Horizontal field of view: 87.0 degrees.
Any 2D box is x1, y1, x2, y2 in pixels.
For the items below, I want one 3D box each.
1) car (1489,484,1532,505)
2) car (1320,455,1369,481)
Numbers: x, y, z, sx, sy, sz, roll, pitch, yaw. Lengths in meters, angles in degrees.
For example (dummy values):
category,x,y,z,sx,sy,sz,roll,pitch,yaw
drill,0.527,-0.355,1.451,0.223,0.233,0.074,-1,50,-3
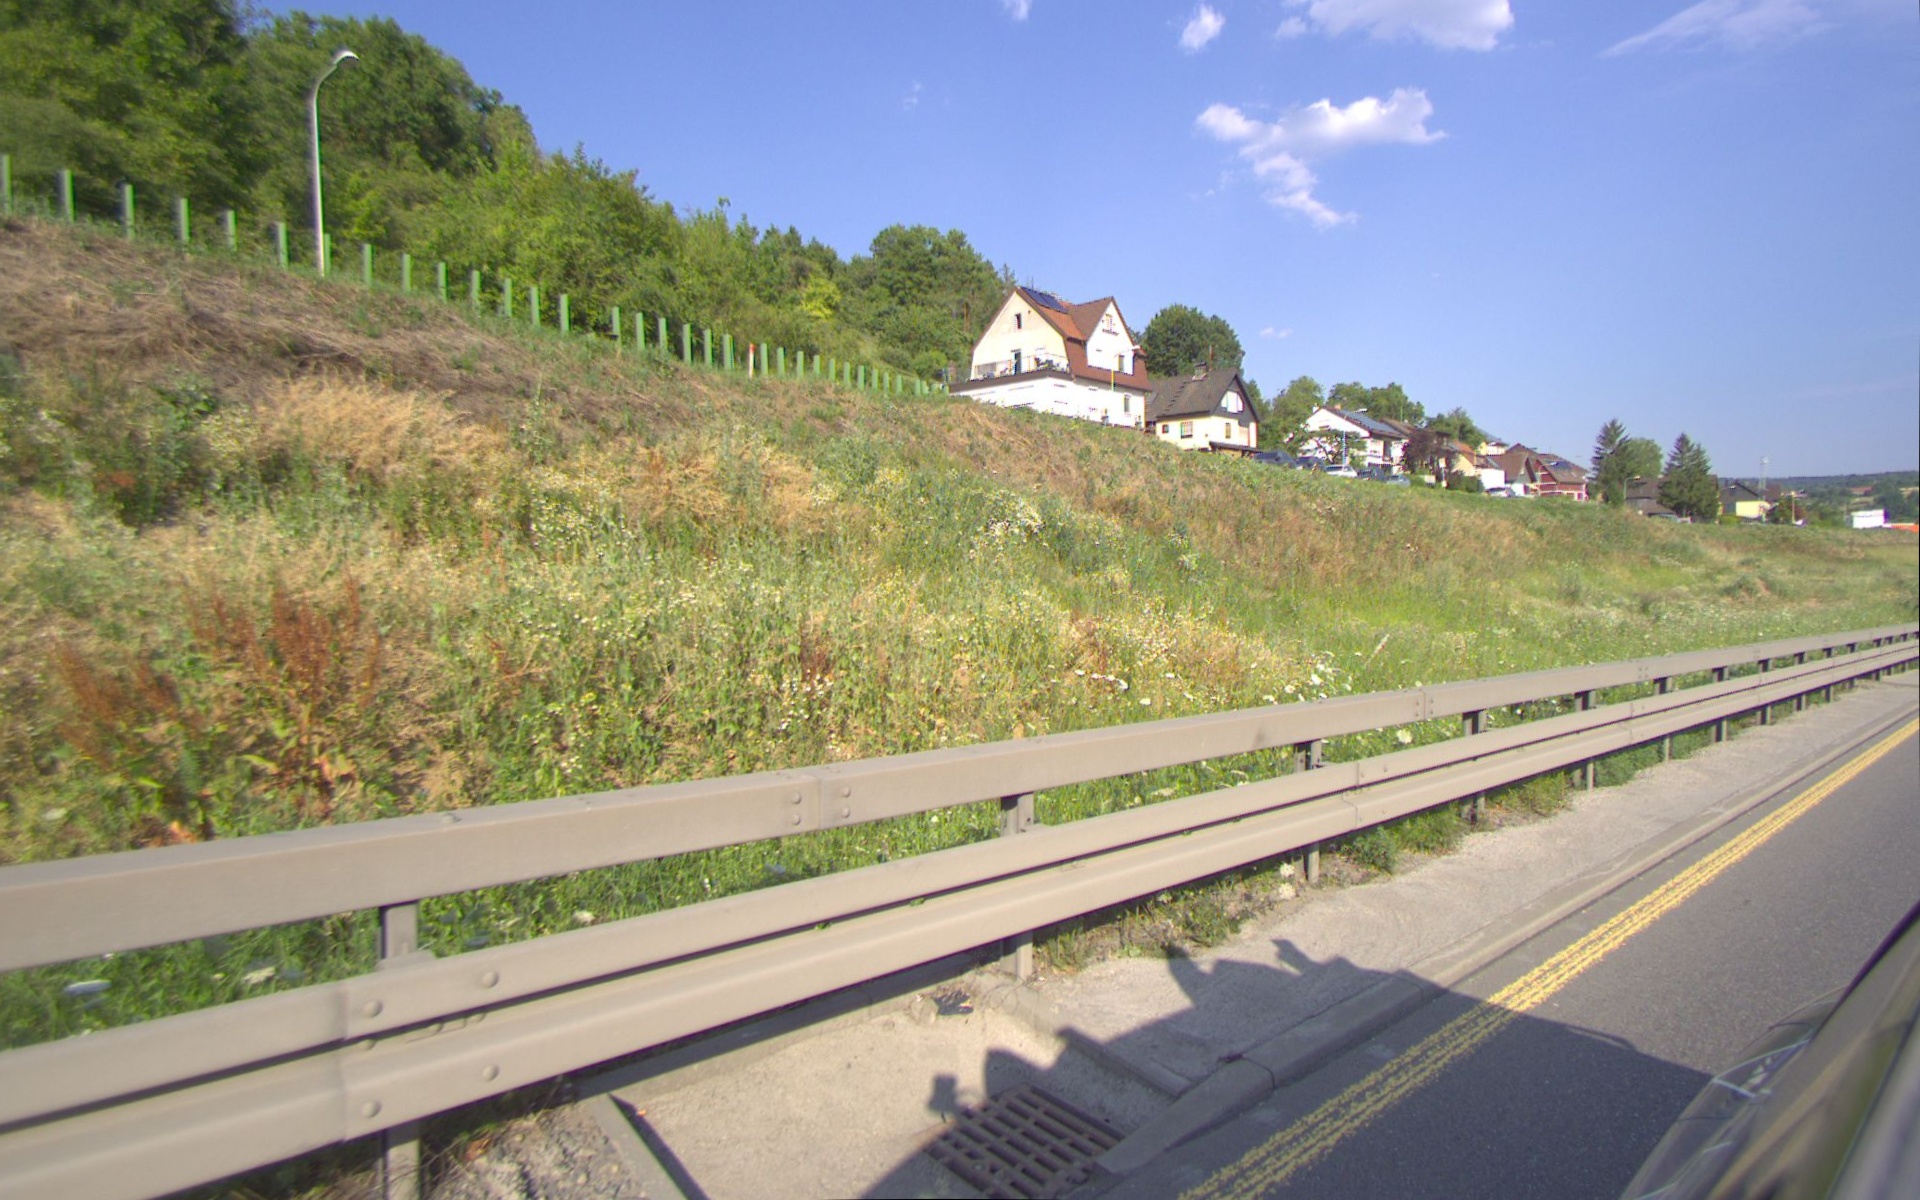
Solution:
category,x,y,z,sx,sy,sz,roll,pitch,yaw
car,47.383,-9.074,87.025,3.931,1.460,1.997,-1,1,-41
car,24.063,-8.222,63.241,3.836,1.248,1.344,-2,1,-44
